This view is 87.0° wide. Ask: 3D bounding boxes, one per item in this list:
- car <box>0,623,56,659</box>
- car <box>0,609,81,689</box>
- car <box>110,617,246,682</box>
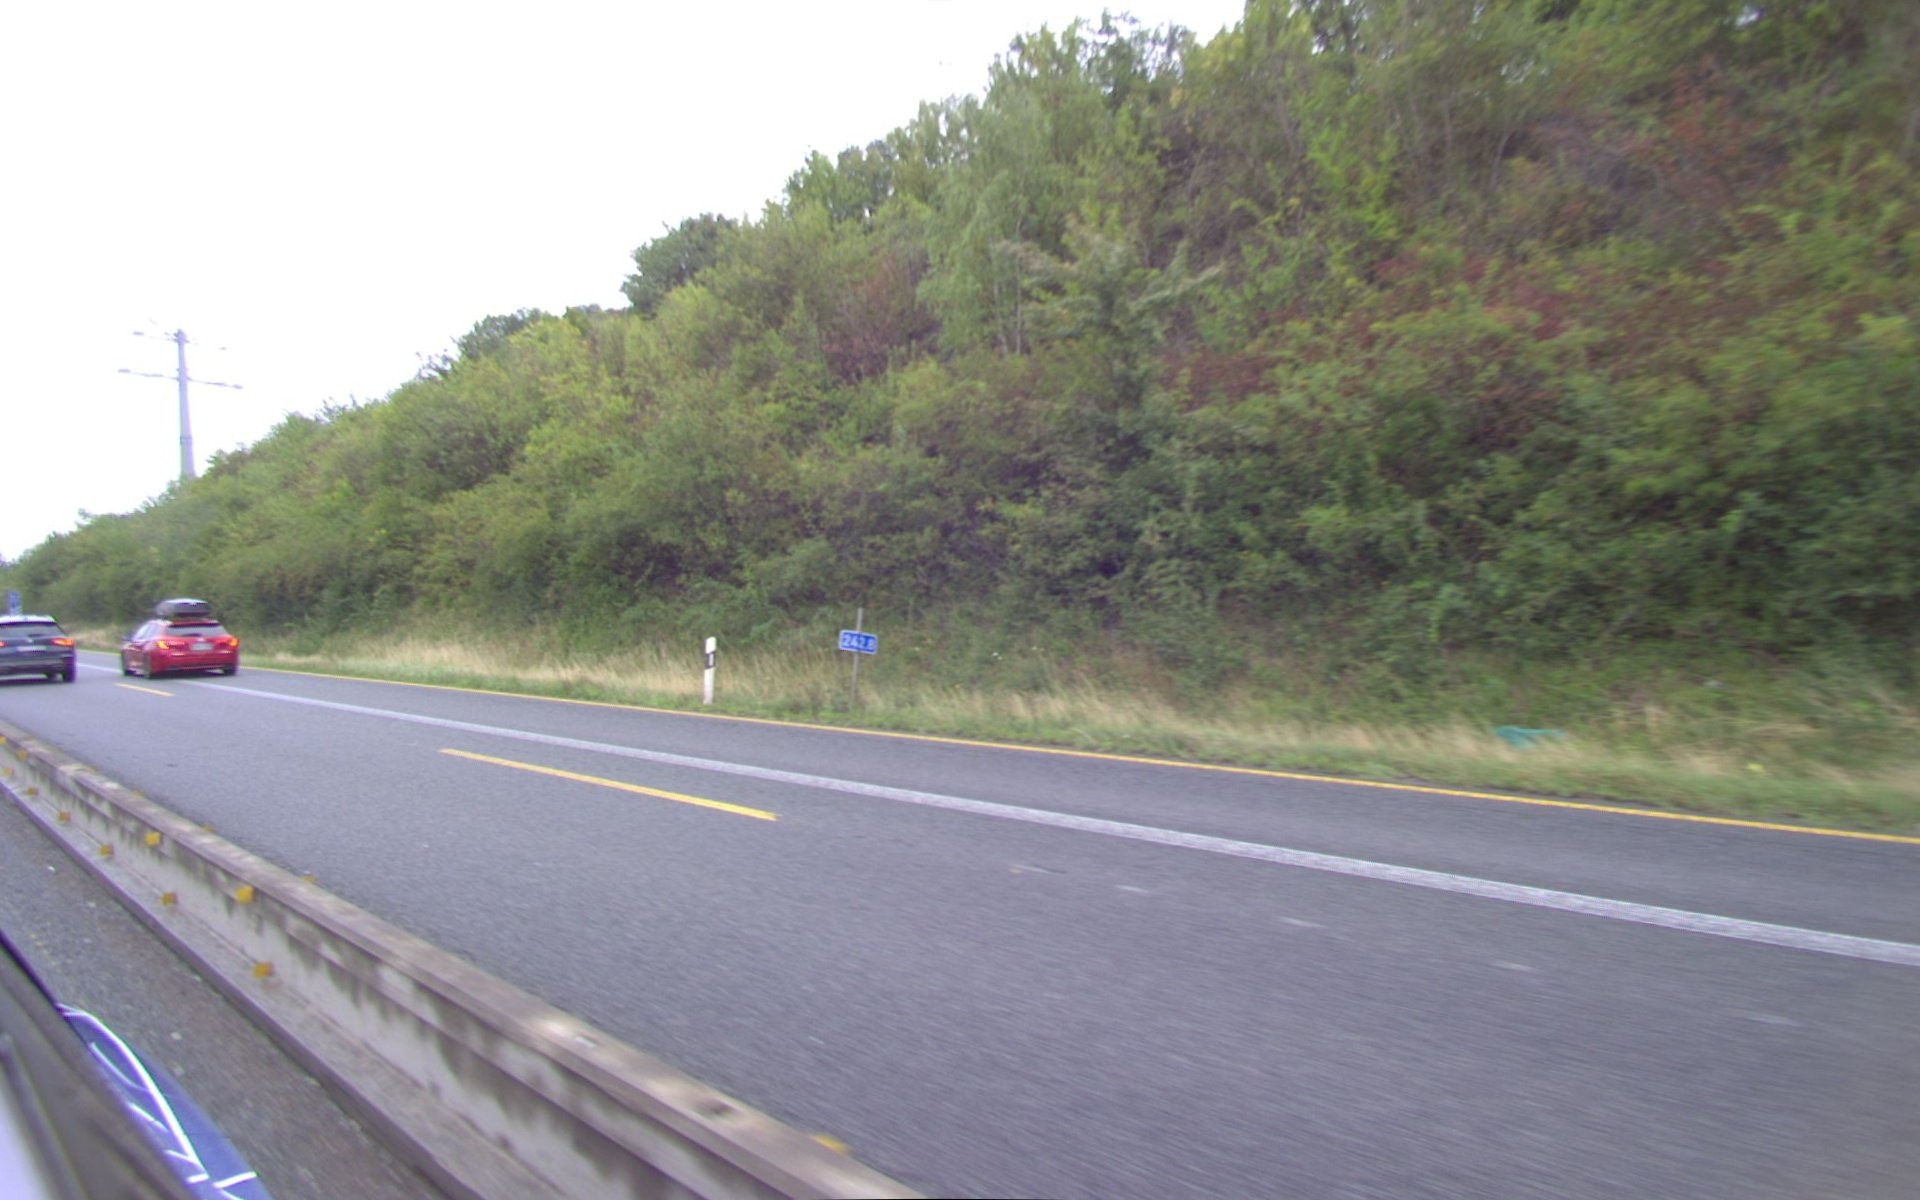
[{"bbox_3d":[-44.767,1.929,48.370,3.998,1.615,1.851,-1,0,41],"label":"car"},{"bbox_3d":[-21.827,1.084,23.488,4.000,1.696,1.743,-1,0,43],"label":"car"},{"bbox_3d":[-19.513,1.163,25.183,4.445,1.462,1.756,-1,0,40],"label":"car"}]
